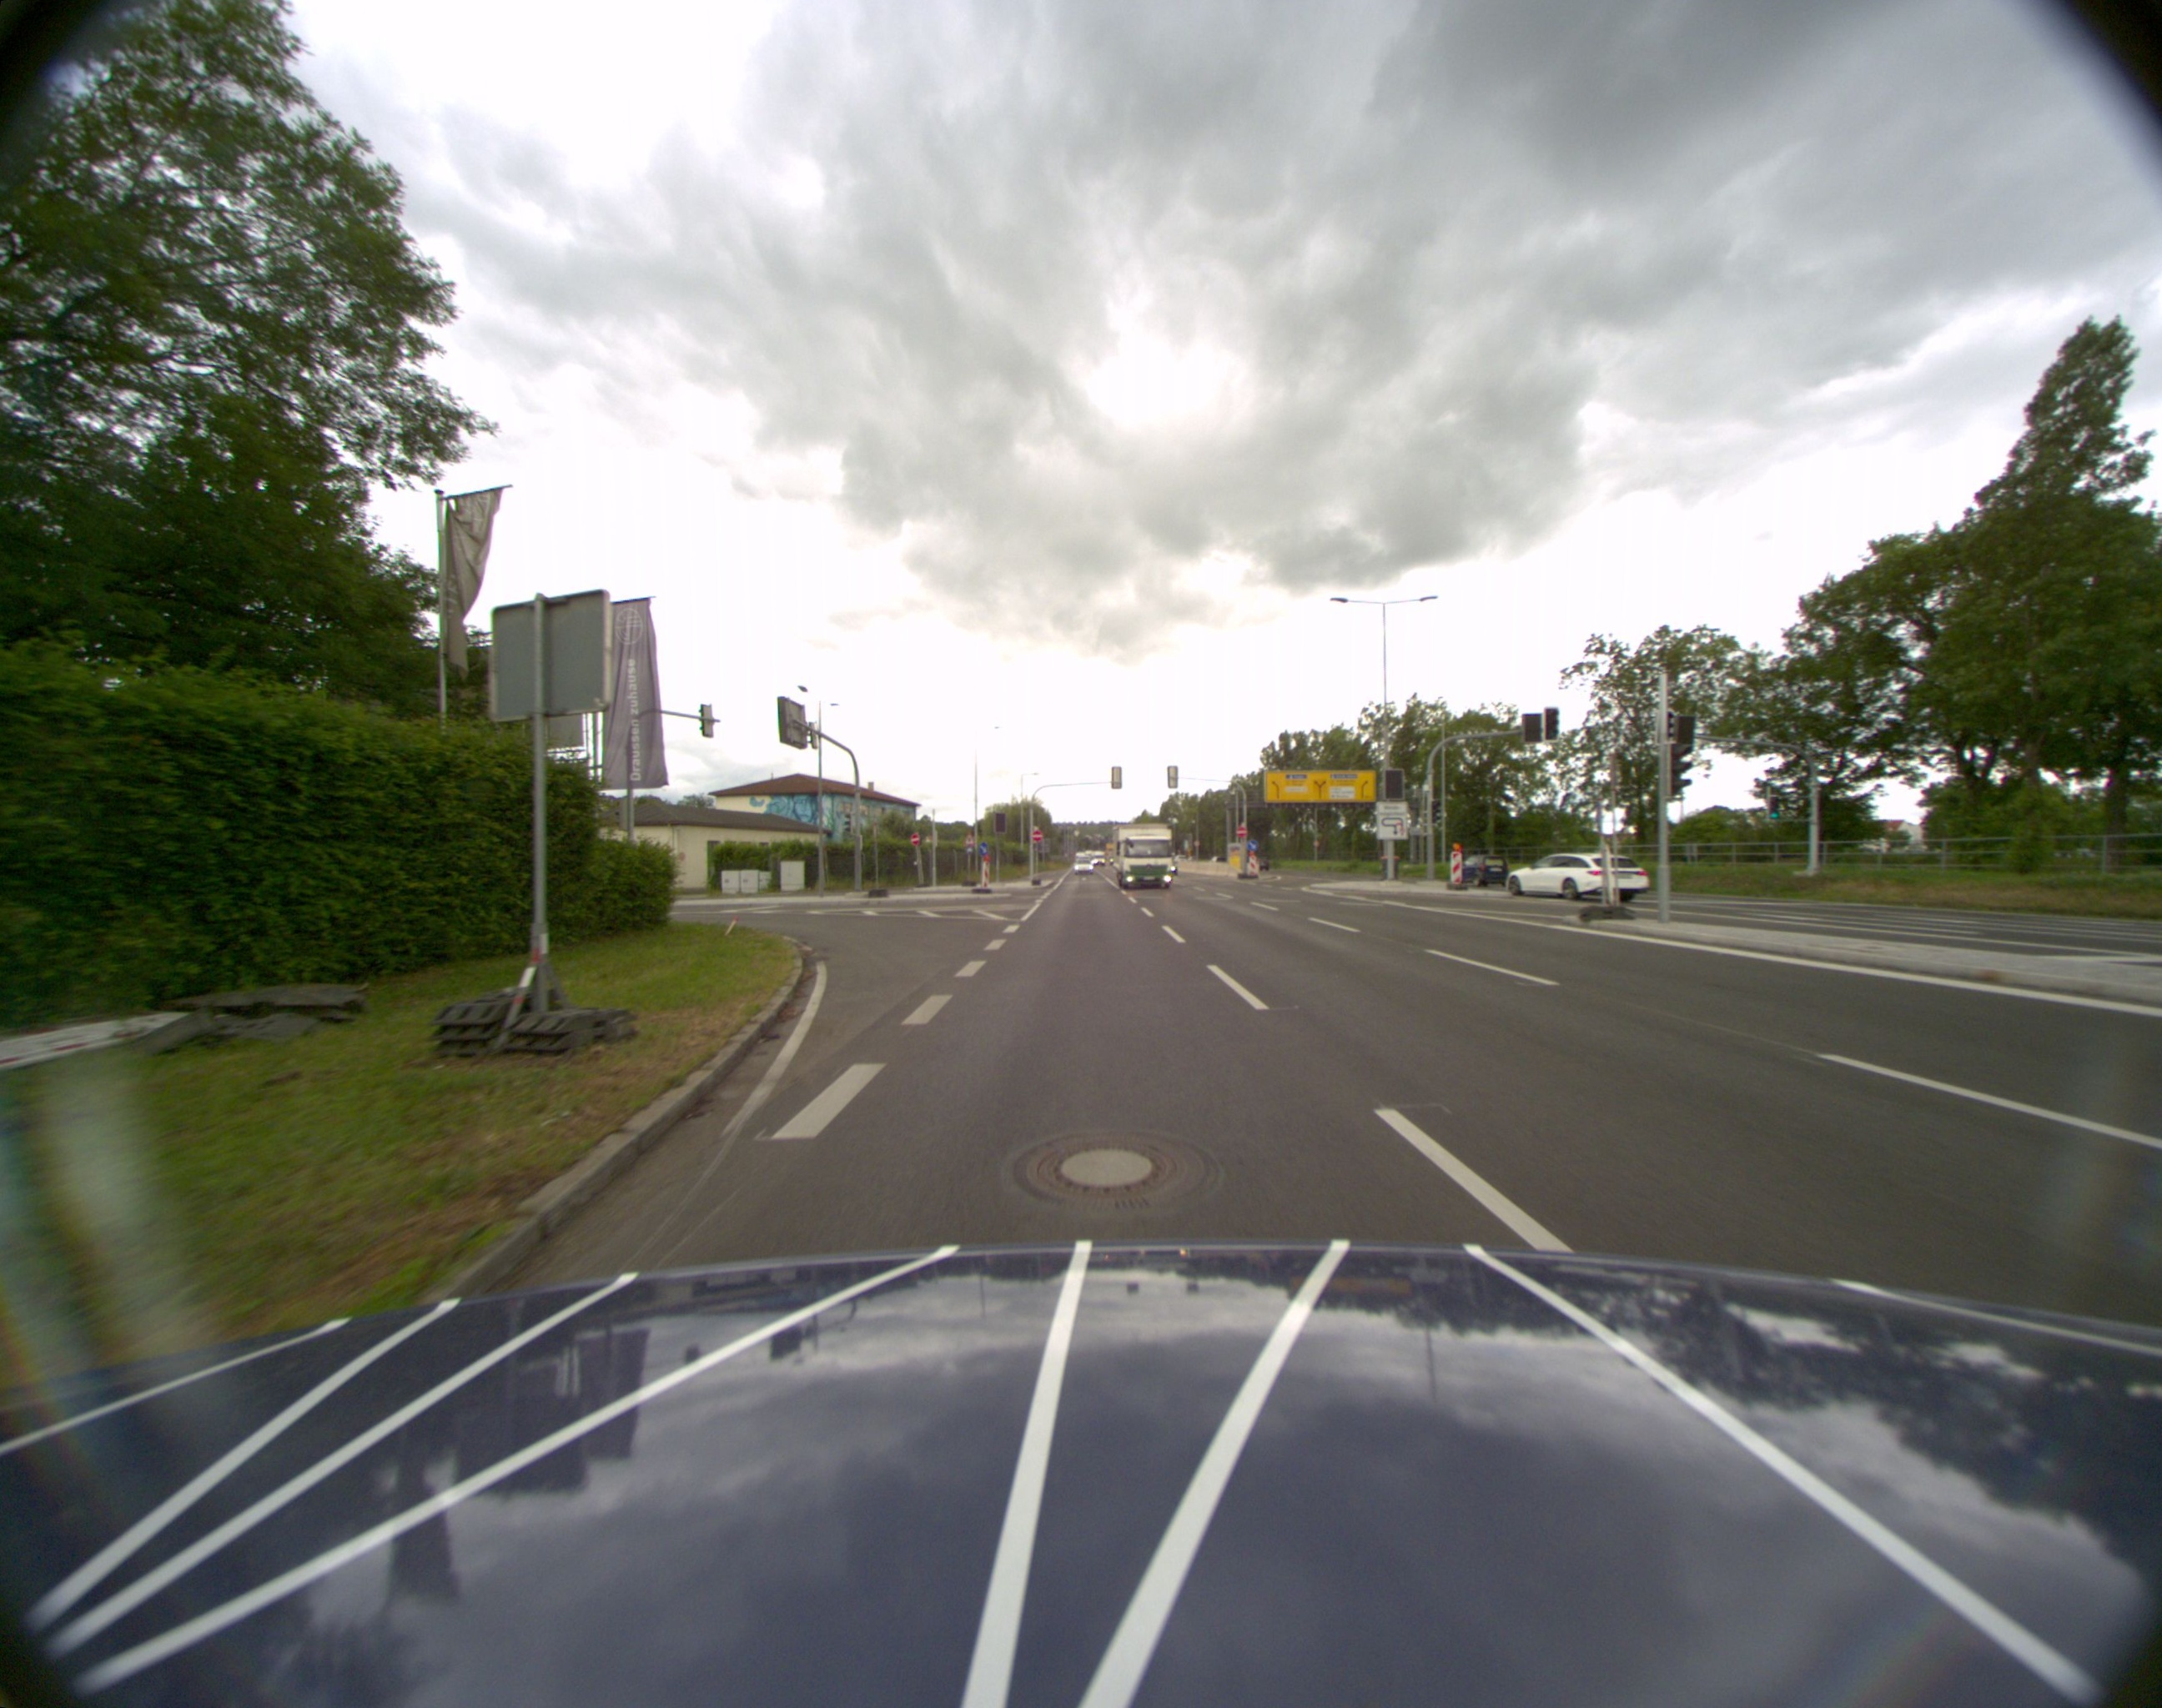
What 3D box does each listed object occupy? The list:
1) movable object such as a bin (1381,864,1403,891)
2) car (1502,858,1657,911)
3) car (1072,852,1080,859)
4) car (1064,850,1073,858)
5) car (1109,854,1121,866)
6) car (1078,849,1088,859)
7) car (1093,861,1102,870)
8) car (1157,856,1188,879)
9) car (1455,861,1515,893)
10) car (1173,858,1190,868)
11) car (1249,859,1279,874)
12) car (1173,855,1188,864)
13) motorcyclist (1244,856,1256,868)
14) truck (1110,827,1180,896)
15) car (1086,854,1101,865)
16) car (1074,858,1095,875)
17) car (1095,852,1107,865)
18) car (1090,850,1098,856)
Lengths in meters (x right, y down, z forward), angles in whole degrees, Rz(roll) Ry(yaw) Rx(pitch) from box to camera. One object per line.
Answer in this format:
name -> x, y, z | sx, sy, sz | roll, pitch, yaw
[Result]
movable object such as a bin -> 11.873, 0.883, 29.026 | 0.570, 1.018, 0.622 | -1, 0, 4
car -> 15.939, 0.900, 24.680 | 1.702, 1.516, 5.002 | 1, 0, 0
car -> -1.366, 0.395, 194.371 | 1.949, 1.811, 4.000 | -1, 0, 0
car -> -3.128, 0.004, 189.718 | 1.949, 1.811, 4.000 | -1, 0, 0
car -> 6.579, 1.178, 146.755 | 1.949, 2.176, 4.000 | -1, 0, 0
car -> 0.380, -0.013, 148.305 | 1.949, 1.811, 4.000 | -1, 0, 0
car -> 3.658, 2.535, 167.669 | 1.949, 1.811, 4.000 | -1, 0, 0
car -> 7.180, 1.036, 59.694 | 1.883, 1.714, 4.146 | -1, 0, 0
car -> 19.465, 1.066, 36.741 | 1.508, 1.467, 2.633 | 1, 0, 1
car -> 16.055, 1.411, 121.150 | 2.012, 1.559, 5.002 | -1, 0, 0
car -> 19.777, 1.293, 82.411 | 2.012, 1.516, 5.002 | -1, 0, 0
car -> 18.807, 1.072, 143.647 | 2.012, 1.516, 5.002 | -1, 0, 0
motorcyclist -> 16.755, 0.797, 75.390 | 0.876, 1.231, 1.085 | -1, 0, 1
truck -> 3.179, 0.373, 41.323 | 2.657, 3.120, 12.508 | -1, 0, 0
car -> 1.714, 0.756, 104.266 | 1.949, 1.516, 4.000 | -1, 0, 0
car -> 0.316, 1.208, 74.050 | 1.949, 1.516, 4.000 | -1, 0, 0
car -> 3.546, 0.851, 136.196 | 1.949, 2.176, 4.000 | -1, 0, 0
car -> 3.717, -0.332, 218.196 | 1.949, 1.811, 4.000 | -1, 0, 0
